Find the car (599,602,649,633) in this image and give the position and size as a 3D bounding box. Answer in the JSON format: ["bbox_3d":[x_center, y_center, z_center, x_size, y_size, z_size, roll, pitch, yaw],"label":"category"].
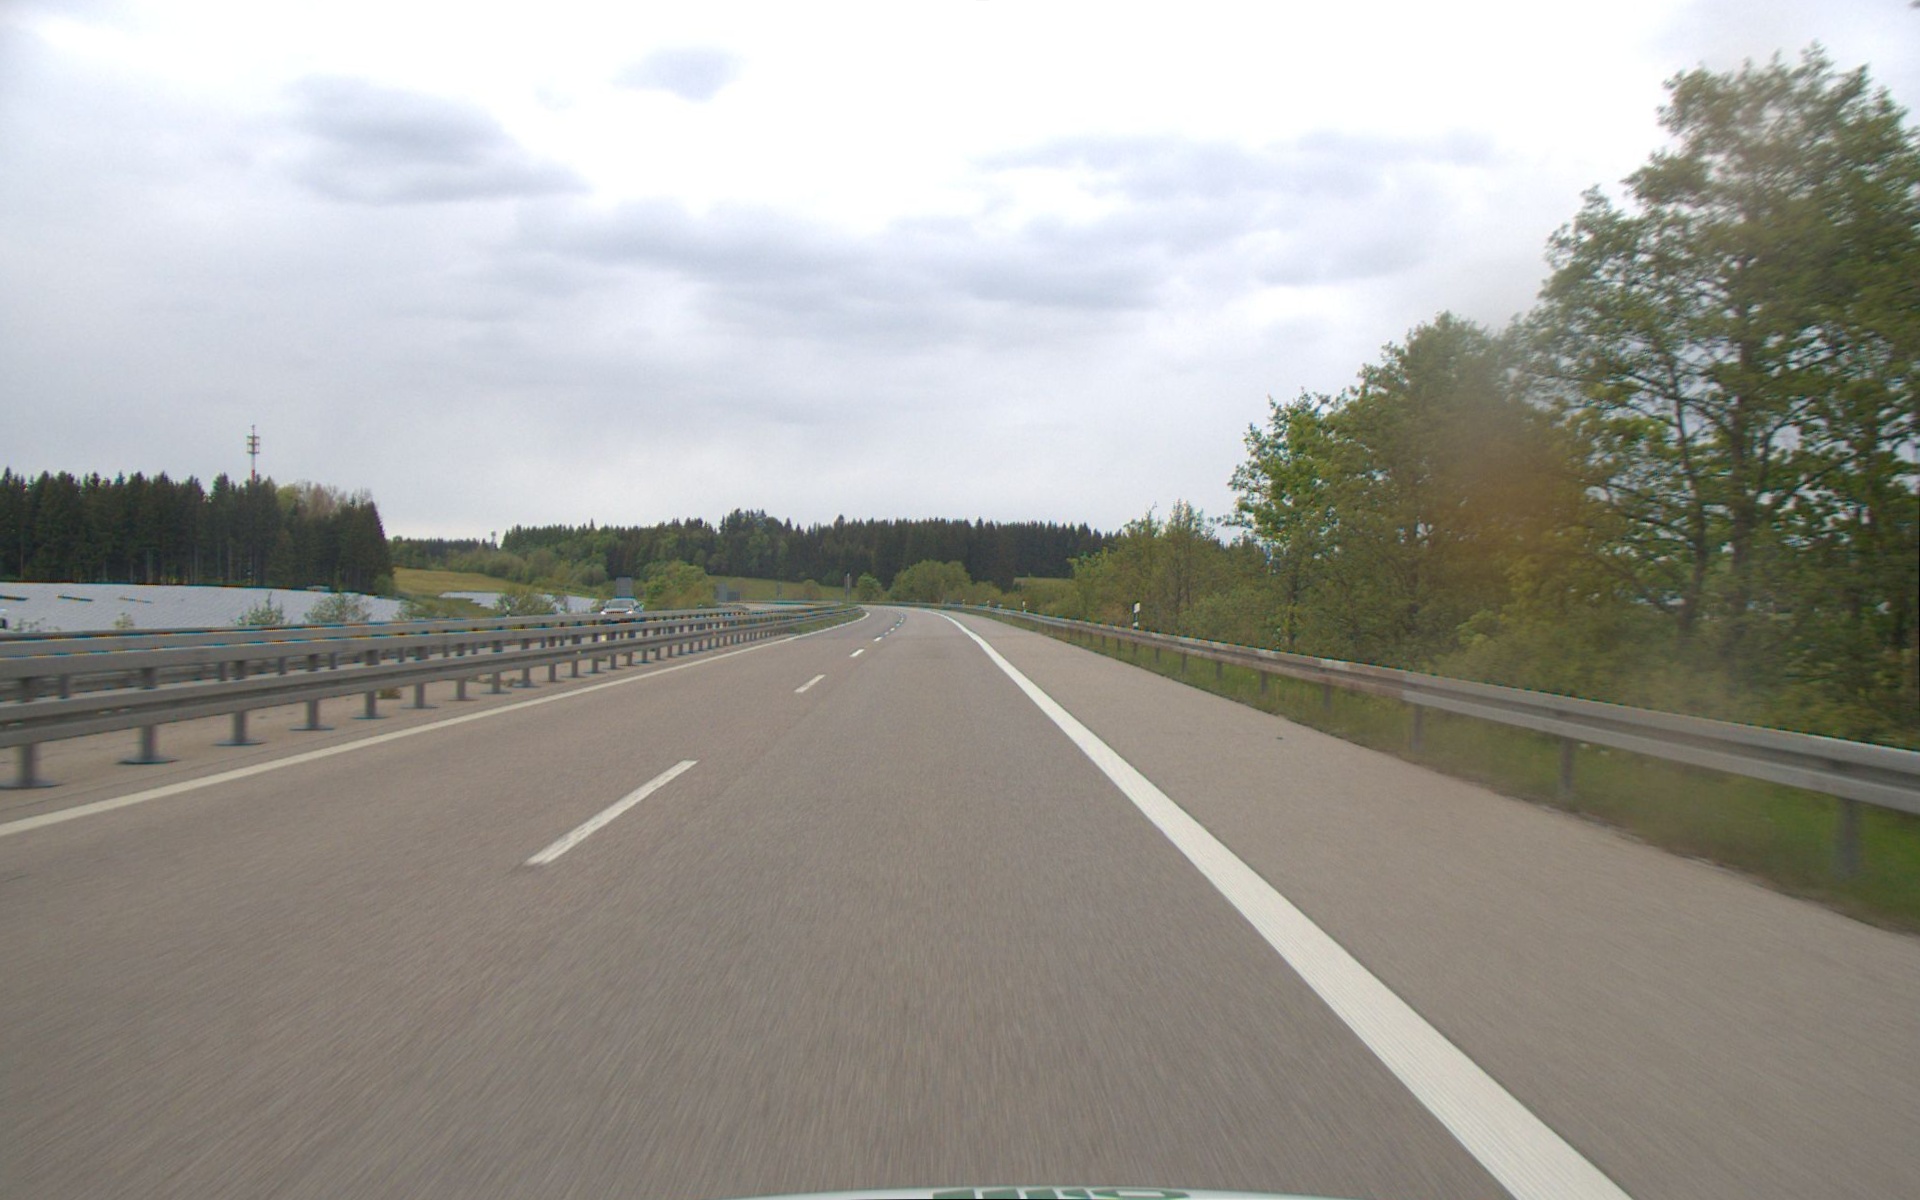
[{"bbox_3d":[-18.514,0.962,91.402,1.953,1.645,4.845,0,0,-2],"label":"car"}]
